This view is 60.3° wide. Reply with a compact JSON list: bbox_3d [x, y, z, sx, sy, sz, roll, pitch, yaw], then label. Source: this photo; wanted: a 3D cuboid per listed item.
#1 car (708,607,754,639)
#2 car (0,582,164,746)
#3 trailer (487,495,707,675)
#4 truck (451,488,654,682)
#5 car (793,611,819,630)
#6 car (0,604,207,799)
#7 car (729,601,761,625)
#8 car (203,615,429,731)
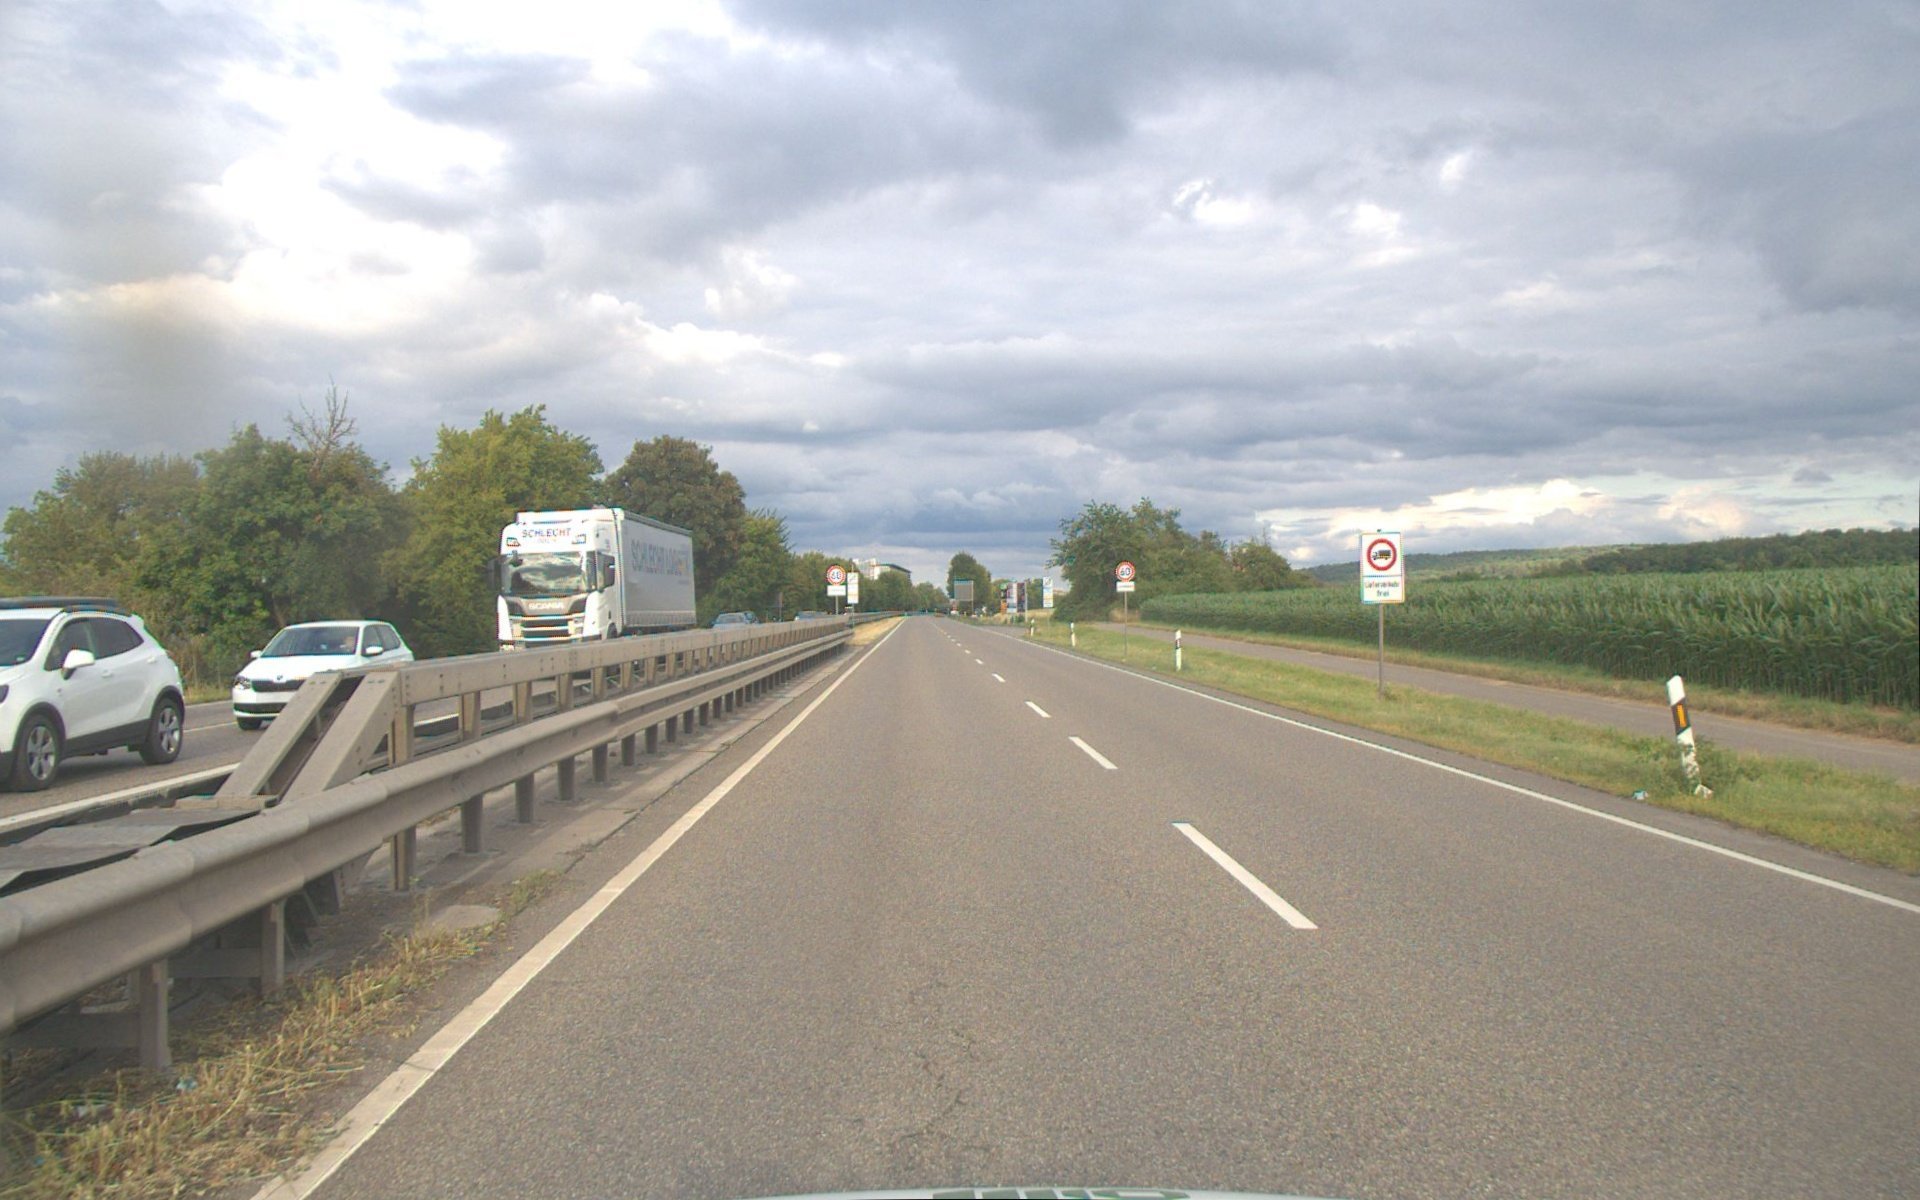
[{"bbox_3d":[-11.008,1.095,79.804,1.753,1.410,4.159,-1,0,-2],"label":"car"},{"bbox_3d":[-13.000,0.855,22.516,1.953,2.049,4.945,-2,-1,-1],"label":"car"},{"bbox_3d":[-9.911,-0.361,47.258,3.395,4.223,13.911,-3,0,-2],"label":"trailer"},{"bbox_3d":[-9.744,-0.335,40.302,3.405,4.223,6.047,-3,0,-2],"label":"truck"},{"bbox_3d":[-12.887,1.685,138.449,1.829,1.503,4.823,-1,0,-2],"label":"car"},{"bbox_3d":[-9.143,0.887,15.901,1.869,1.638,4.403,-1,0,-2],"label":"car"},{"bbox_3d":[-14.861,0.870,114.425,1.753,1.601,4.159,-1,0,-2],"label":"car"},{"bbox_3d":[-9.300,0.999,24.247,1.753,1.470,4.159,-1,0,-2],"label":"car"}]
